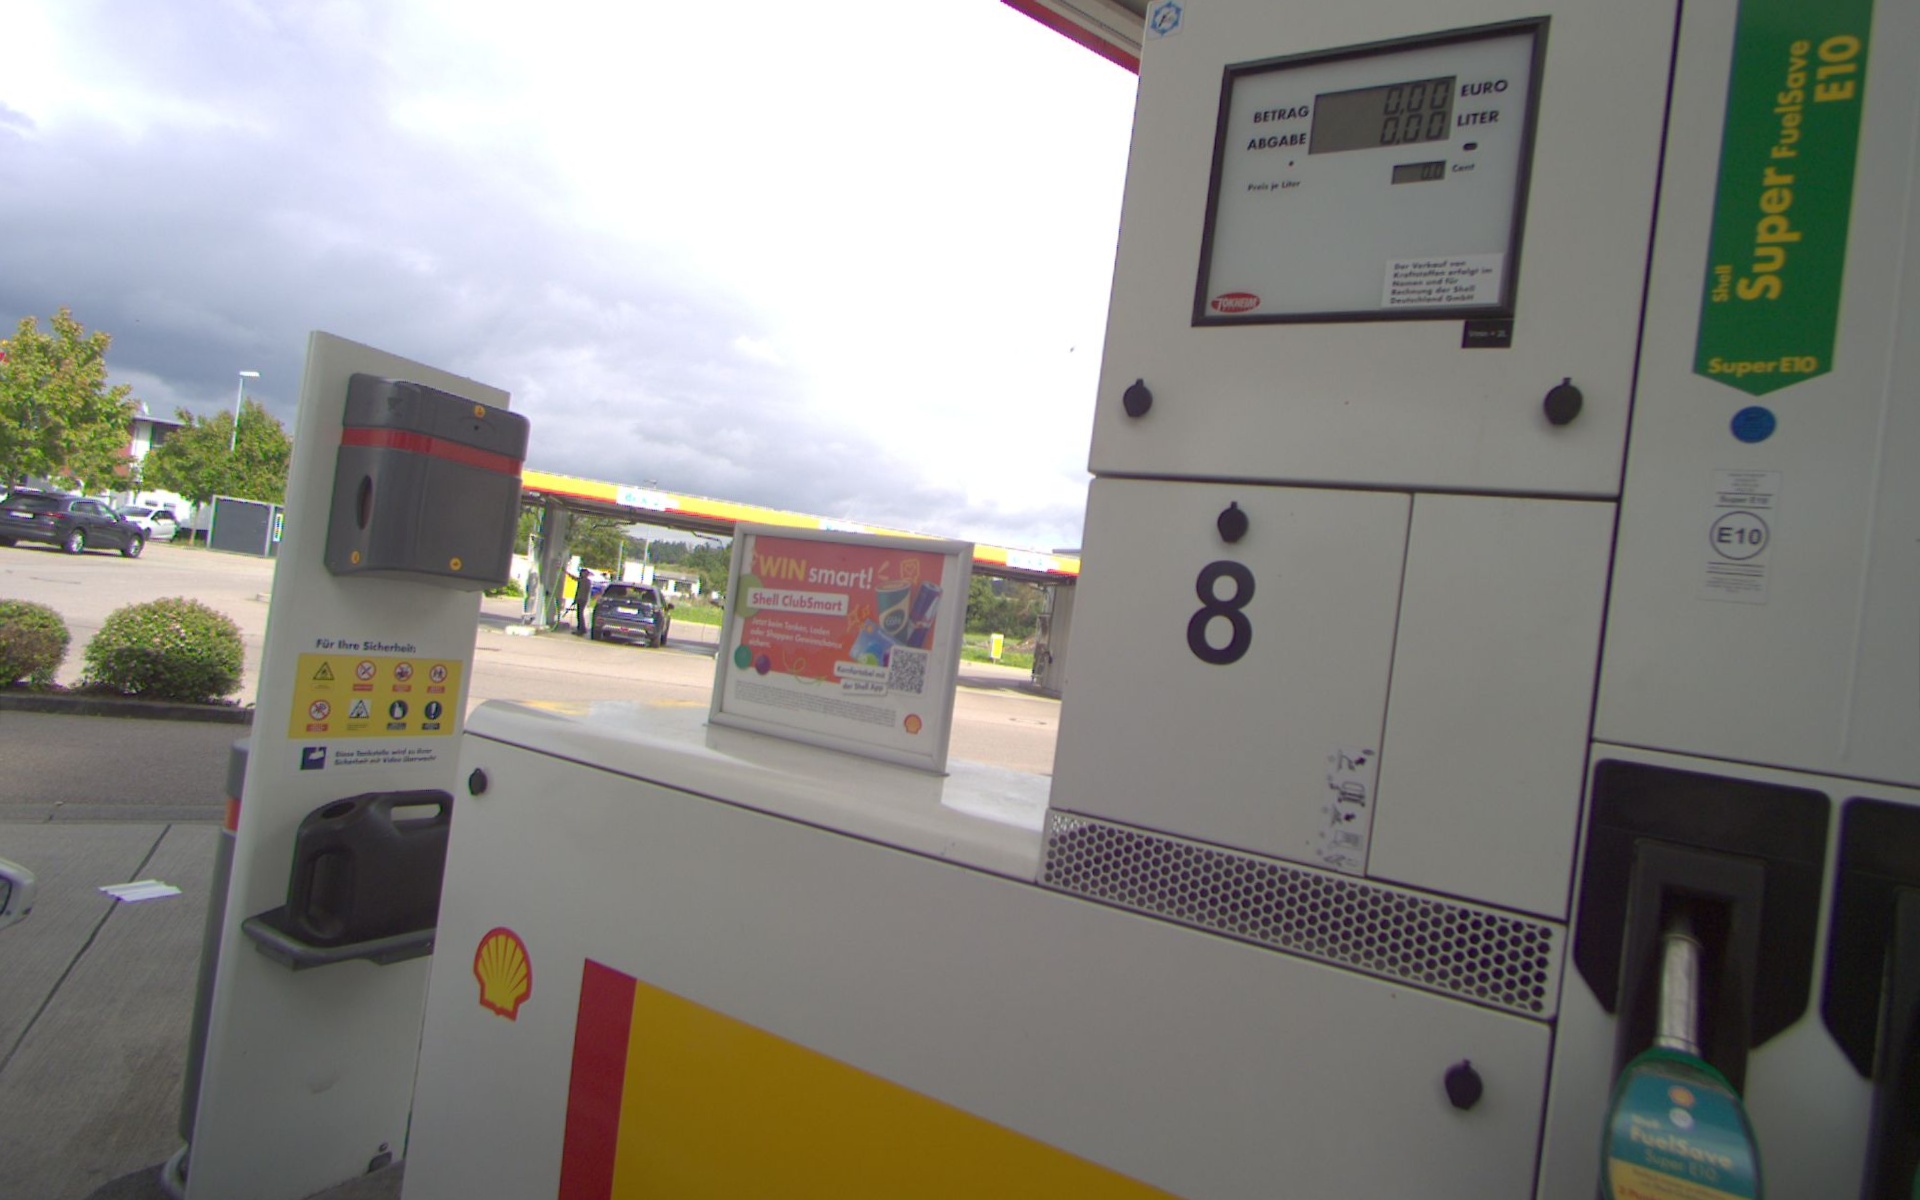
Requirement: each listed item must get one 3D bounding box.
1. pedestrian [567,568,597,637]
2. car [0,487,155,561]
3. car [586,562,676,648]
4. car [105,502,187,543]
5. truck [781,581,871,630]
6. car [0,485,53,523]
[{"bbox_3d":[-10.061,0.069,26.790,0.550,1.742,0.526,7,-1,-20],"label":"pedestrian"},{"bbox_3d":[-25.917,-2.168,29.243,1.855,1.566,4.498,8,-2,-10],"label":"car"},{"bbox_3d":[-8.685,0.149,26.844,1.696,1.919,3.800,8,-2,-12],"label":"car"},{"bbox_3d":[-35.246,-3.340,43.629,1.346,1.322,3.098,8,-2,-12],"label":"car"},{"bbox_3d":[-13.000,0.553,97.489,7.978,3.575,2.687,8,-2,-19],"label":"truck"},{"bbox_3d":[-57.346,-5.903,60.226,2.149,1.854,4.870,8,-2,-11],"label":"car"}]
